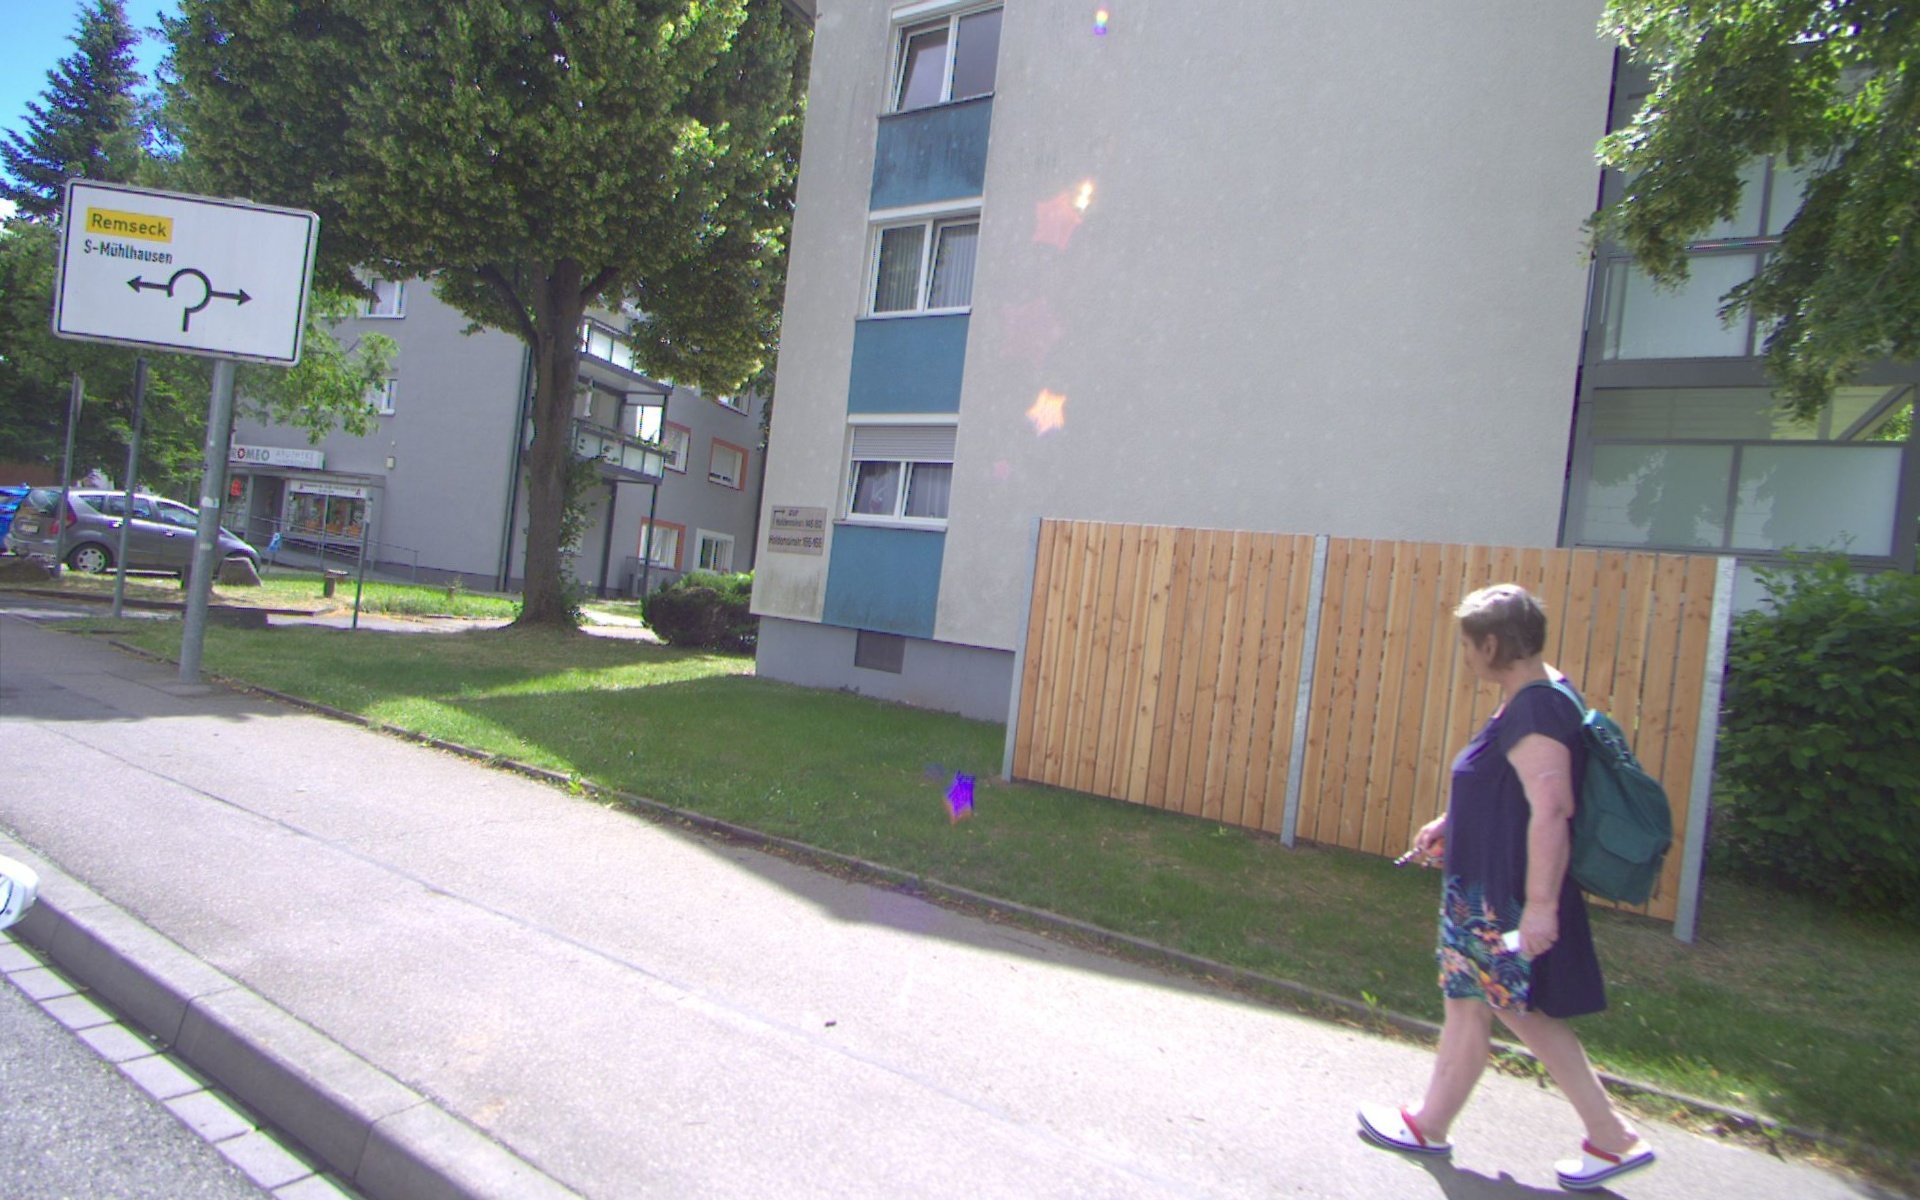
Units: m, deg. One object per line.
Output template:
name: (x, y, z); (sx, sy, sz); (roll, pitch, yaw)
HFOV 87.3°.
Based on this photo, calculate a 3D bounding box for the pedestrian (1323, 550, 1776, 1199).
pedestrian: (1.608, 0.772, 2.885); (0.816, 1.680, 0.684); (8, 0, 25)

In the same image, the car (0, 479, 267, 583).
car: (-16.013, -1.285, 19.473); (1.995, 1.577, 3.736); (7, 2, 23)

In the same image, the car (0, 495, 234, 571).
car: (-18.590, -1.438, 21.586); (1.963, 1.260, 4.492); (7, 2, 21)

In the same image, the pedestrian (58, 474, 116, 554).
pedestrian: (-23.776, -2.341, 27.394); (1.027, 2.039, 0.655); (7, 1, 22)
